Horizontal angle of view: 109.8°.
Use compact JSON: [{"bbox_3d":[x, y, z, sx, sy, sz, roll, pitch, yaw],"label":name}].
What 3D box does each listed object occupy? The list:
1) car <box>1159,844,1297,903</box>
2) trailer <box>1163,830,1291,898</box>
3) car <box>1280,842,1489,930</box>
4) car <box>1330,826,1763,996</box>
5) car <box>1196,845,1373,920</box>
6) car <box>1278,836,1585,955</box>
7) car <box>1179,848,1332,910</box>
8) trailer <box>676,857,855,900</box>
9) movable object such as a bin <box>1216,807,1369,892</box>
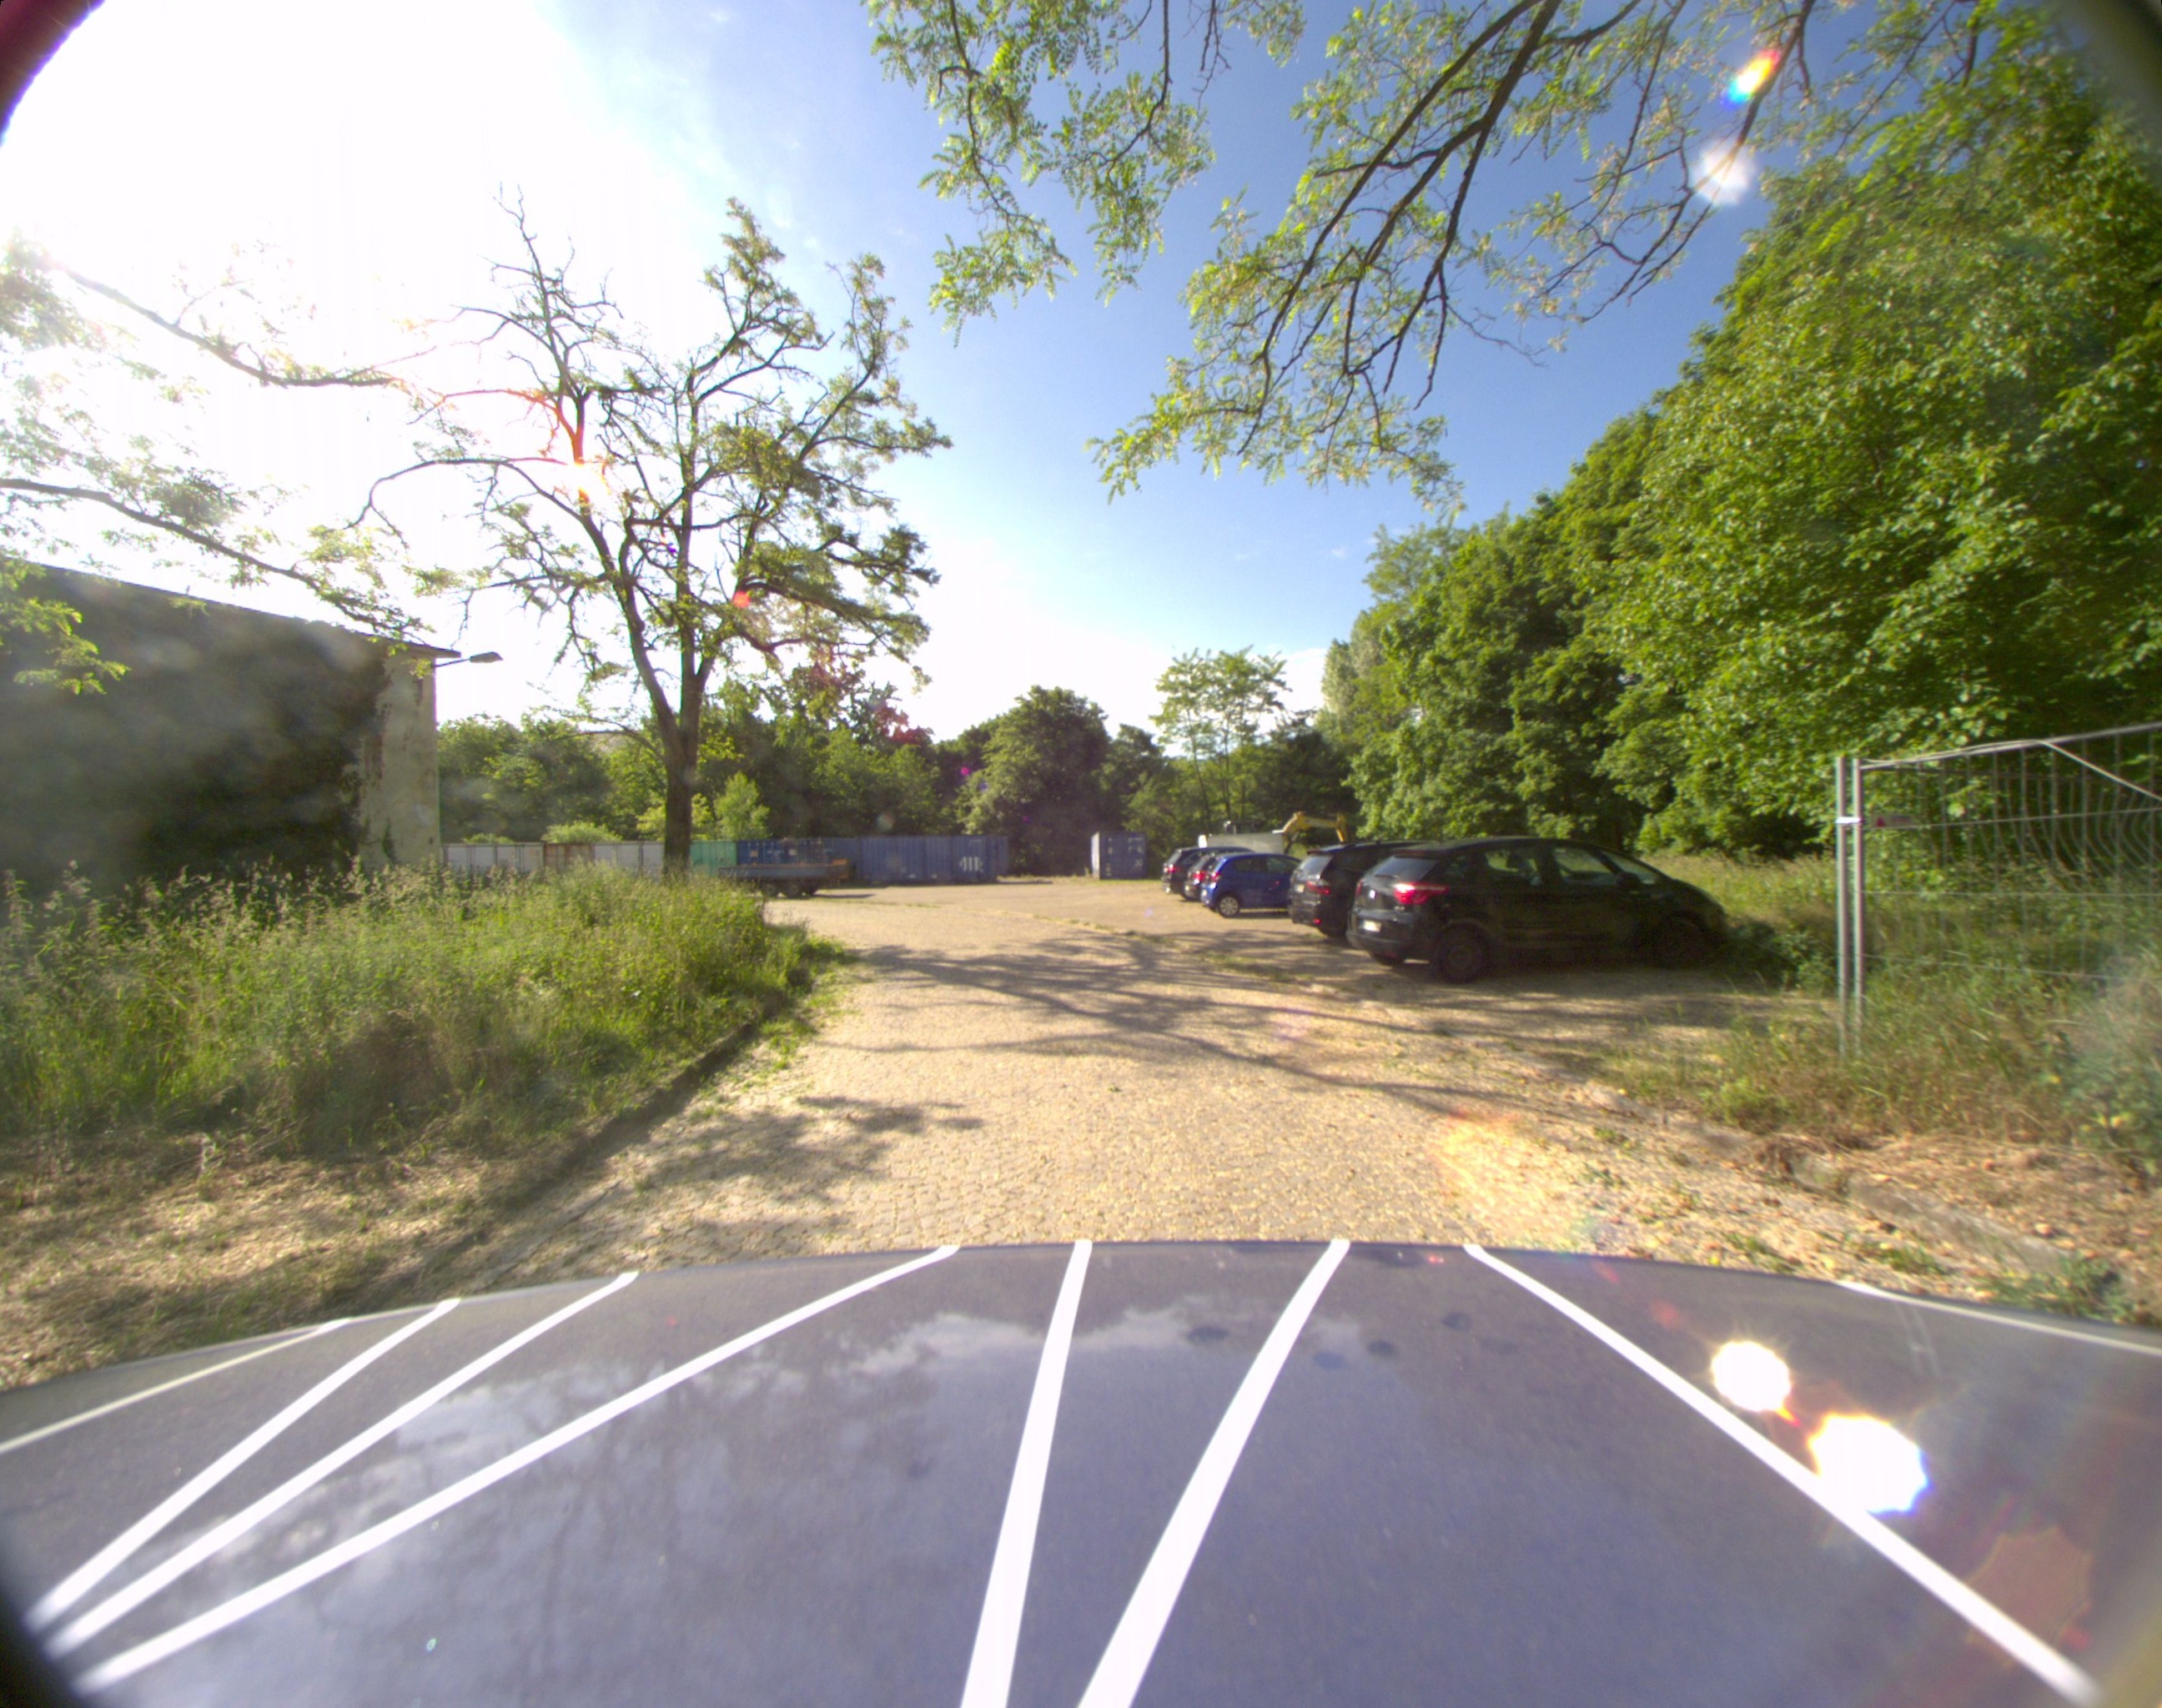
[{"bbox_3d":[4.355,0.557,23.000,3.817,1.631,1.868,-1,0,1],"label":"car"},{"bbox_3d":[4.914,0.340,25.947,3.970,2.081,1.639,-2,0,0],"label":"trailer"},{"bbox_3d":[6.021,0.612,15.401,3.547,1.507,1.678,-3,2,4],"label":"car"},{"bbox_3d":[5.551,0.615,9.375,4.299,1.642,1.792,-3,1,-6],"label":"car"},{"bbox_3d":[4.699,0.647,17.939,3.660,1.484,1.714,-3,0,1],"label":"car"},{"bbox_3d":[5.615,0.625,12.547,4.188,1.646,1.817,-2,0,-2],"label":"car"},{"bbox_3d":[4.628,0.636,20.566,3.661,1.443,1.834,-3,1,-1],"label":"car"},{"bbox_3d":[-13.448,1.017,32.803,6.488,1.509,2.854,-2,2,-1],"label":"trailer"},{"bbox_3d":[7.748,-0.141,28.226,5.159,2.949,2.000,-1,1,4],"label":"movable object such as a bin"}]
